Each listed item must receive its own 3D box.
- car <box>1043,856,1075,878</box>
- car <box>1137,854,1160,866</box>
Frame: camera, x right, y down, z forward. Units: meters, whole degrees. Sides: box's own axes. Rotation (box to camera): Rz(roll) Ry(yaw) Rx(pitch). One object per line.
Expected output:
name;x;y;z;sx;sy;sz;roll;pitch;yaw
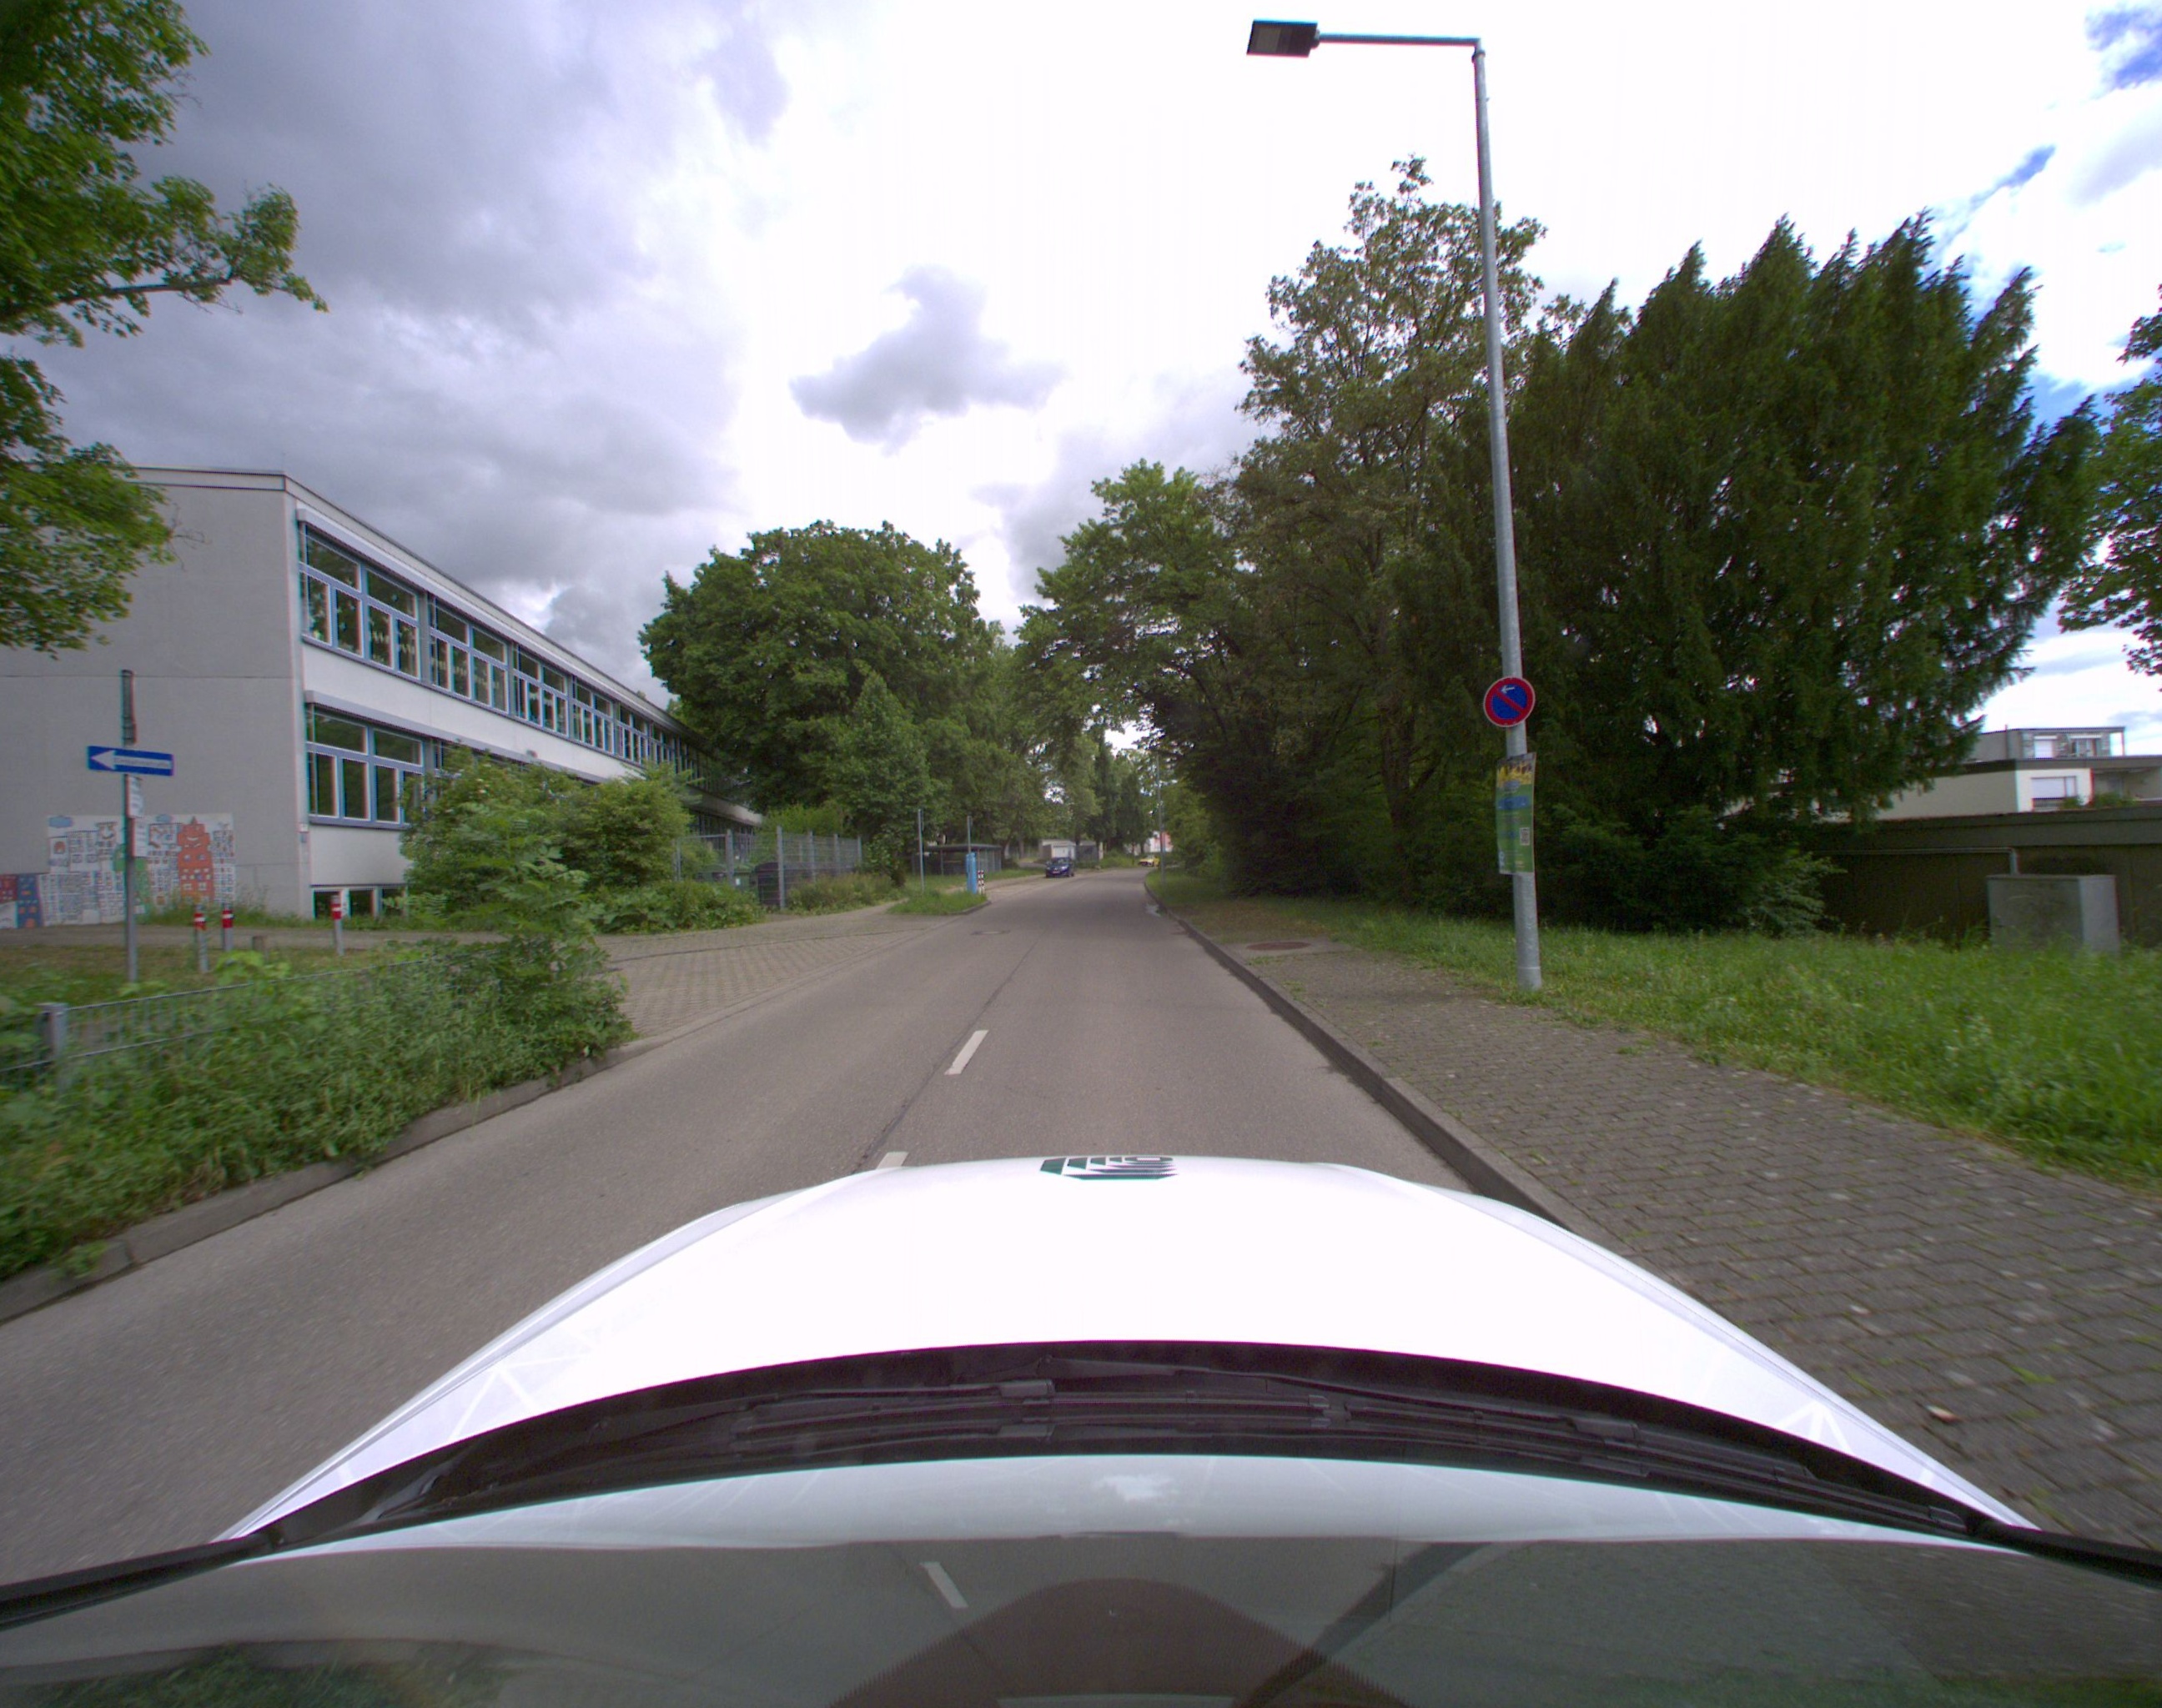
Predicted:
car;-1.587;0.908;60.158;1.671;1.511;4.440;-2;-1;7
car;8.147;0.724;97.384;1.686;1.403;4.294;-1;-1;19
